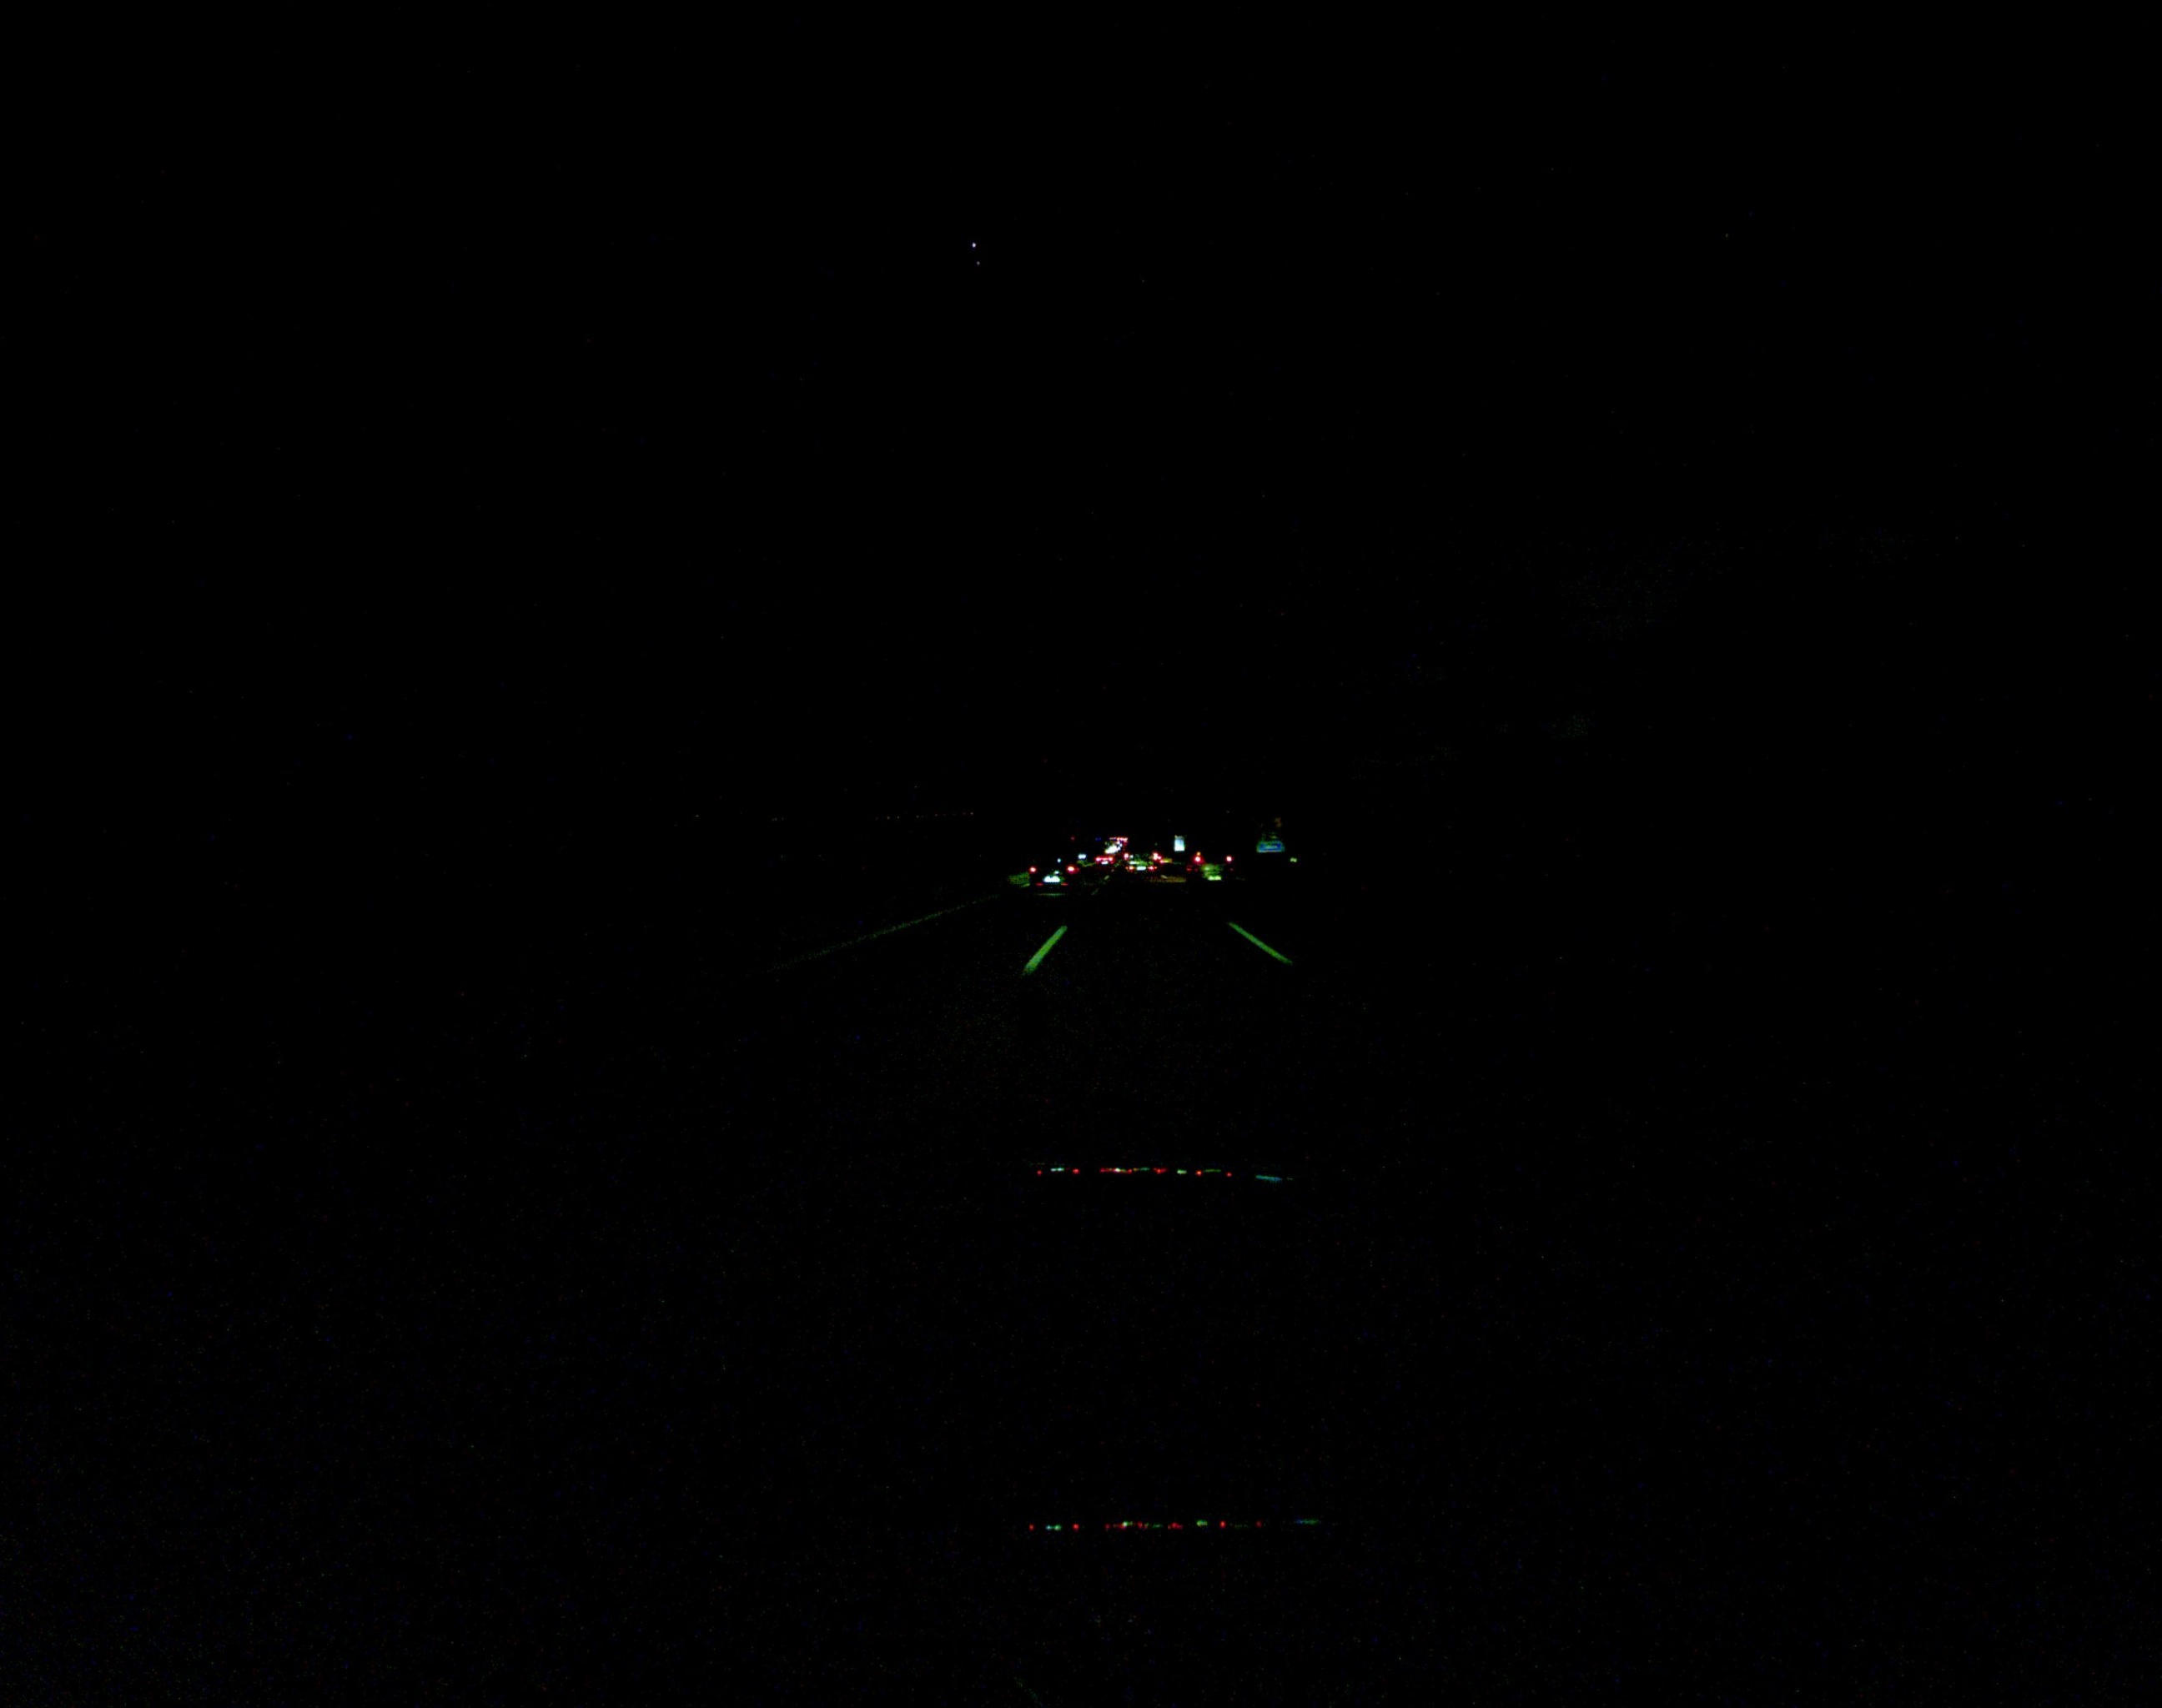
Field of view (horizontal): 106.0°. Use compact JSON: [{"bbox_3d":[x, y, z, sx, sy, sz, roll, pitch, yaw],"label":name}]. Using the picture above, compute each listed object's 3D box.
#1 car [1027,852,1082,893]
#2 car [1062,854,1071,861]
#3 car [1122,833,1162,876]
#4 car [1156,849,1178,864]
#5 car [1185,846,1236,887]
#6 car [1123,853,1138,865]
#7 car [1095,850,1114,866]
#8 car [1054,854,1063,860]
[{"bbox_3d":[-0.974,0.698,32.126,1.786,1.469,3.776,-1,0,3],"label":"car"},{"bbox_3d":[-3.625,0.972,207.196,1.895,1.643,5.303,-2,0,4],"label":"car"},{"bbox_3d":[3.876,0.000,52.363,2.341,2.535,5.706,-2,0,3],"label":"car"},{"bbox_3d":[9.486,0.239,90.332,2.153,1.563,4.727,-1,0,3],"label":"car"},{"bbox_3d":[5.479,0.505,34.947,1.639,1.596,4.513,-1,0,3],"label":"car"},{"bbox_3d":[7.923,0.769,130.749,2.341,1.914,4.727,-2,0,3],"label":"car"},{"bbox_3d":[2.417,0.401,82.919,1.737,1.440,4.372,-2,0,4],"label":"car"},{"bbox_3d":[-6.255,0.820,231.360,2.036,1.720,4.779,-4,0,3],"label":"car"}]
